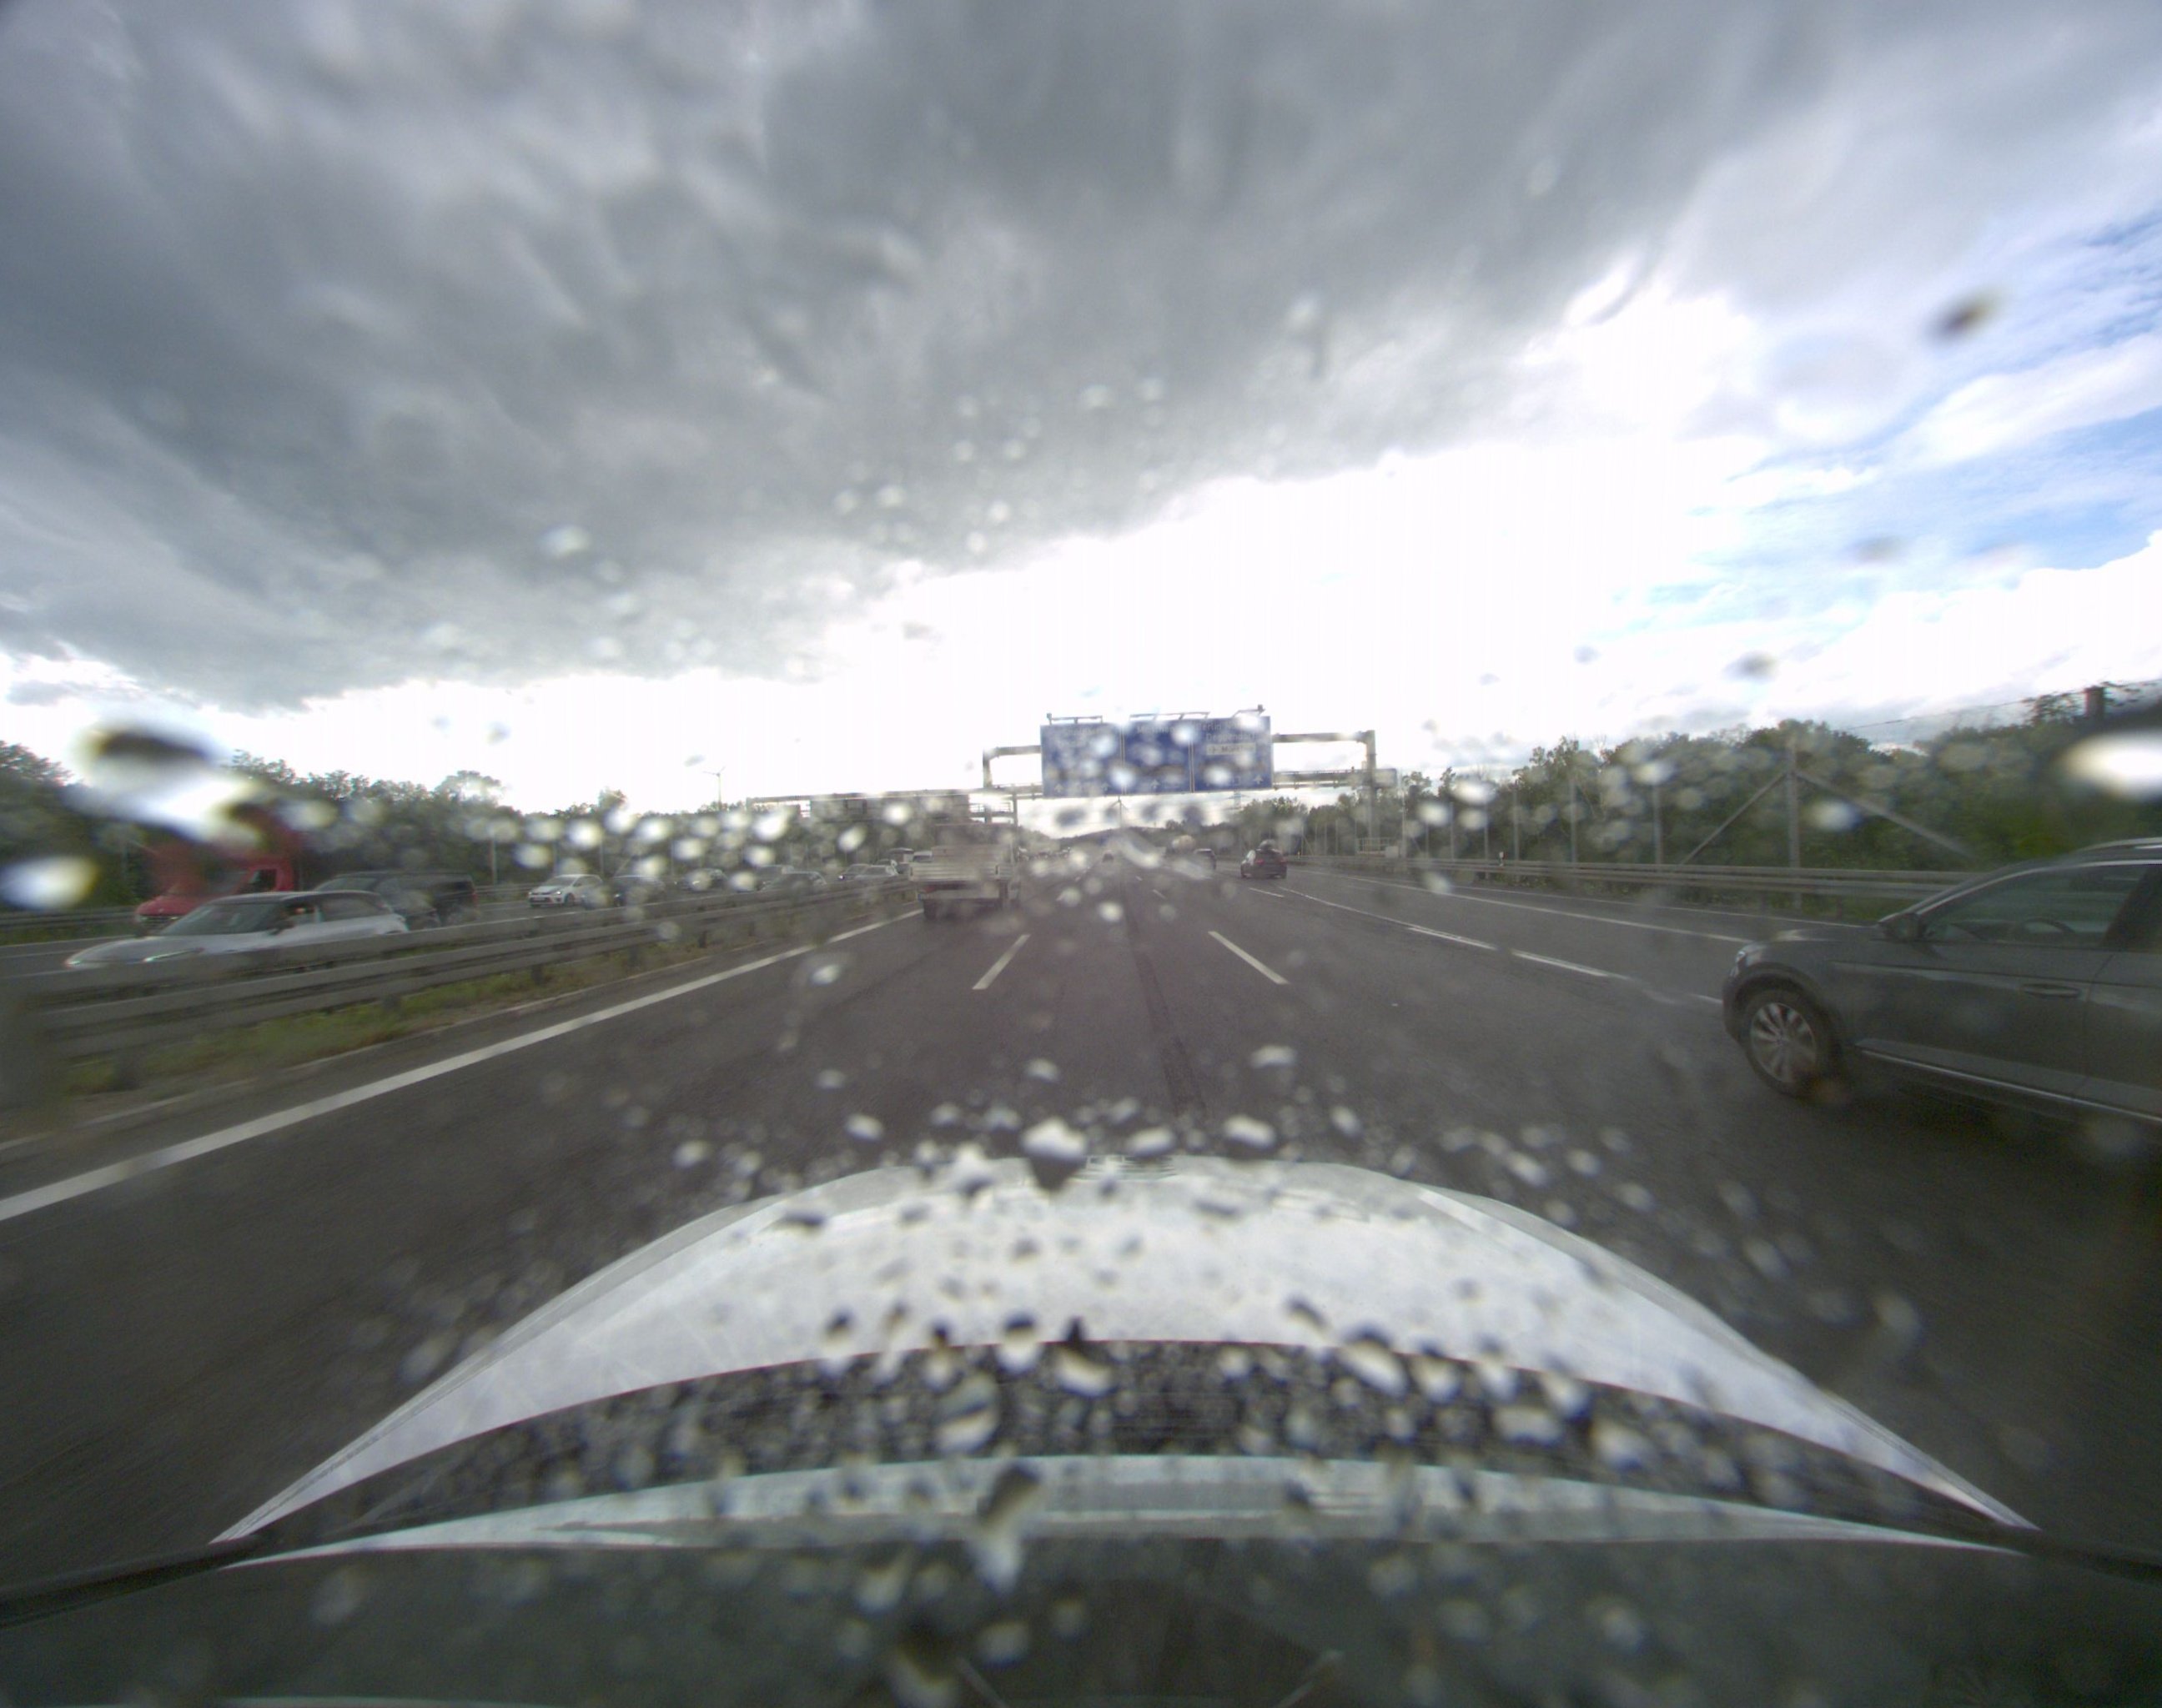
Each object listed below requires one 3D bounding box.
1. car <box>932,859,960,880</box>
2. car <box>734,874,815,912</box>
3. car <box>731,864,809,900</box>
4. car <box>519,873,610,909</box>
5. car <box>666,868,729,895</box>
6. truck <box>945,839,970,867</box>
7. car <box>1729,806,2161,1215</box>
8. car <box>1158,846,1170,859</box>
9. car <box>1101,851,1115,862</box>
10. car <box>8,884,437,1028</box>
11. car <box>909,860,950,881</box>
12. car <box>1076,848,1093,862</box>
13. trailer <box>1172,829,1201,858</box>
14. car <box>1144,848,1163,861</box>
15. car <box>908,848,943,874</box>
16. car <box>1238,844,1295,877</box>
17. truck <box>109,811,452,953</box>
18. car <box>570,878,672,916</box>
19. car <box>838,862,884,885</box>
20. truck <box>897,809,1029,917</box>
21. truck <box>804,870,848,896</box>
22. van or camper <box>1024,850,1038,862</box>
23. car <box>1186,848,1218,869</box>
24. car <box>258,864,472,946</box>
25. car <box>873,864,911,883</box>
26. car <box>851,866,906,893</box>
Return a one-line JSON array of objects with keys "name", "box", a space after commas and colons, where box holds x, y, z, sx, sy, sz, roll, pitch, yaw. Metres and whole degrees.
[{"name": "car", "box": [-17.883, 2.034, 108.074, 2.263, 2.546, 7.359, -2, 0, 1]}, {"name": "car", "box": [-12.699, 1.571, 34.025, 1.697, 1.289, 4.188, -2, 0, 1]}, {"name": "car", "box": [-15.875, 1.376, 41.911, 1.875, 1.598, 5.136, -2, 0, 1]}, {"name": "car", "box": [-23.778, 1.676, 37.674, 1.577, 1.426, 4.004, -2, 0, 1]}, {"name": "car", "box": [-23.664, 1.669, 50.423, 1.755, 1.426, 4.343, -2, 0, 1]}, {"name": "truck", "box": [-21.789, -0.200, 144.051, 3.136, 4.856, 8.027, -1, 0, 0]}, {"name": "car", "box": [5.012, 0.583, 3.348, 1.786, 1.562, 3.723, -1, 0, 1]}, {"name": "car", "box": [17.336, -0.295, 170.189, 2.037, 2.498, 4.002, -1, 0, 2]}, {"name": "car", "box": [4.194, 0.351, 126.495, 2.038, 1.699, 4.001, -1, 0, 1]}, {"name": "car", "box": [-13.357, 1.452, 13.257, 1.866, 1.647, 4.722, -2, 0, 1]}, {"name": "car", "box": [-11.748, 1.250, 63.497, 2.072, 1.357, 5.257, -2, 0, 1]}, {"name": "car", "box": [0.452, 0.132, 100.663, 2.037, 1.699, 4.002, -1, 0, 2]}, {"name": "trailer", "box": [16.161, -1.515, 125.725, 3.320, 4.175, 11.843, -1, 0, 2]}, {"name": "car", "box": [9.940, 0.042, 111.707, 2.092, 1.699, 3.998, -1, 0, -2]}, {"name": "car", "box": [-15.720, 0.700, 82.696, 2.195, 2.488, 6.066, -2, 0, 1]}, {"name": "car", "box": [9.753, 0.368, 43.237, 2.096, 1.606, 5.070, -1, -1, 3]}, {"name": "truck", "box": [-23.456, 0.695, 24.694, 2.455, 3.536, 7.809, -2, 0, 1]}, {"name": "car", "box": [-19.263, 1.742, 34.340, 1.577, 1.282, 4.603, -2, 0, 1]}, {"name": "car", "box": [-15.314, 1.332, 56.910, 1.883, 1.340, 4.564, -2, 0, 1]}, {"name": "truck", "box": [-2.911, 0.191, 22.135, 2.345, 2.408, 7.359, -1, 0, 1]}, {"name": "truck", "box": [-19.084, 2.115, 61.089, 1.987, 1.746, 4.000, -2, 0, 0]}, {"name": "van or camper", "box": [-9.168, 0.319, 150.435, 2.087, 2.186, 4.973, -1, 0, 2]}, {"name": "car", "box": [9.998, 0.341, 67.466, 2.037, 1.699, 5.009, -1, 0, 2]}, {"name": "car", "box": [-19.665, 1.301, 22.730, 1.577, 1.890, 4.821, -2, 0, 1]}, {"name": "car", "box": [-15.530, 1.548, 67.251, 1.792, 1.357, 5.130, -2, 0, 1]}, {"name": "car", "box": [-11.896, 1.439, 48.074, 1.883, 1.340, 4.946, -2, 0, 1]}]
